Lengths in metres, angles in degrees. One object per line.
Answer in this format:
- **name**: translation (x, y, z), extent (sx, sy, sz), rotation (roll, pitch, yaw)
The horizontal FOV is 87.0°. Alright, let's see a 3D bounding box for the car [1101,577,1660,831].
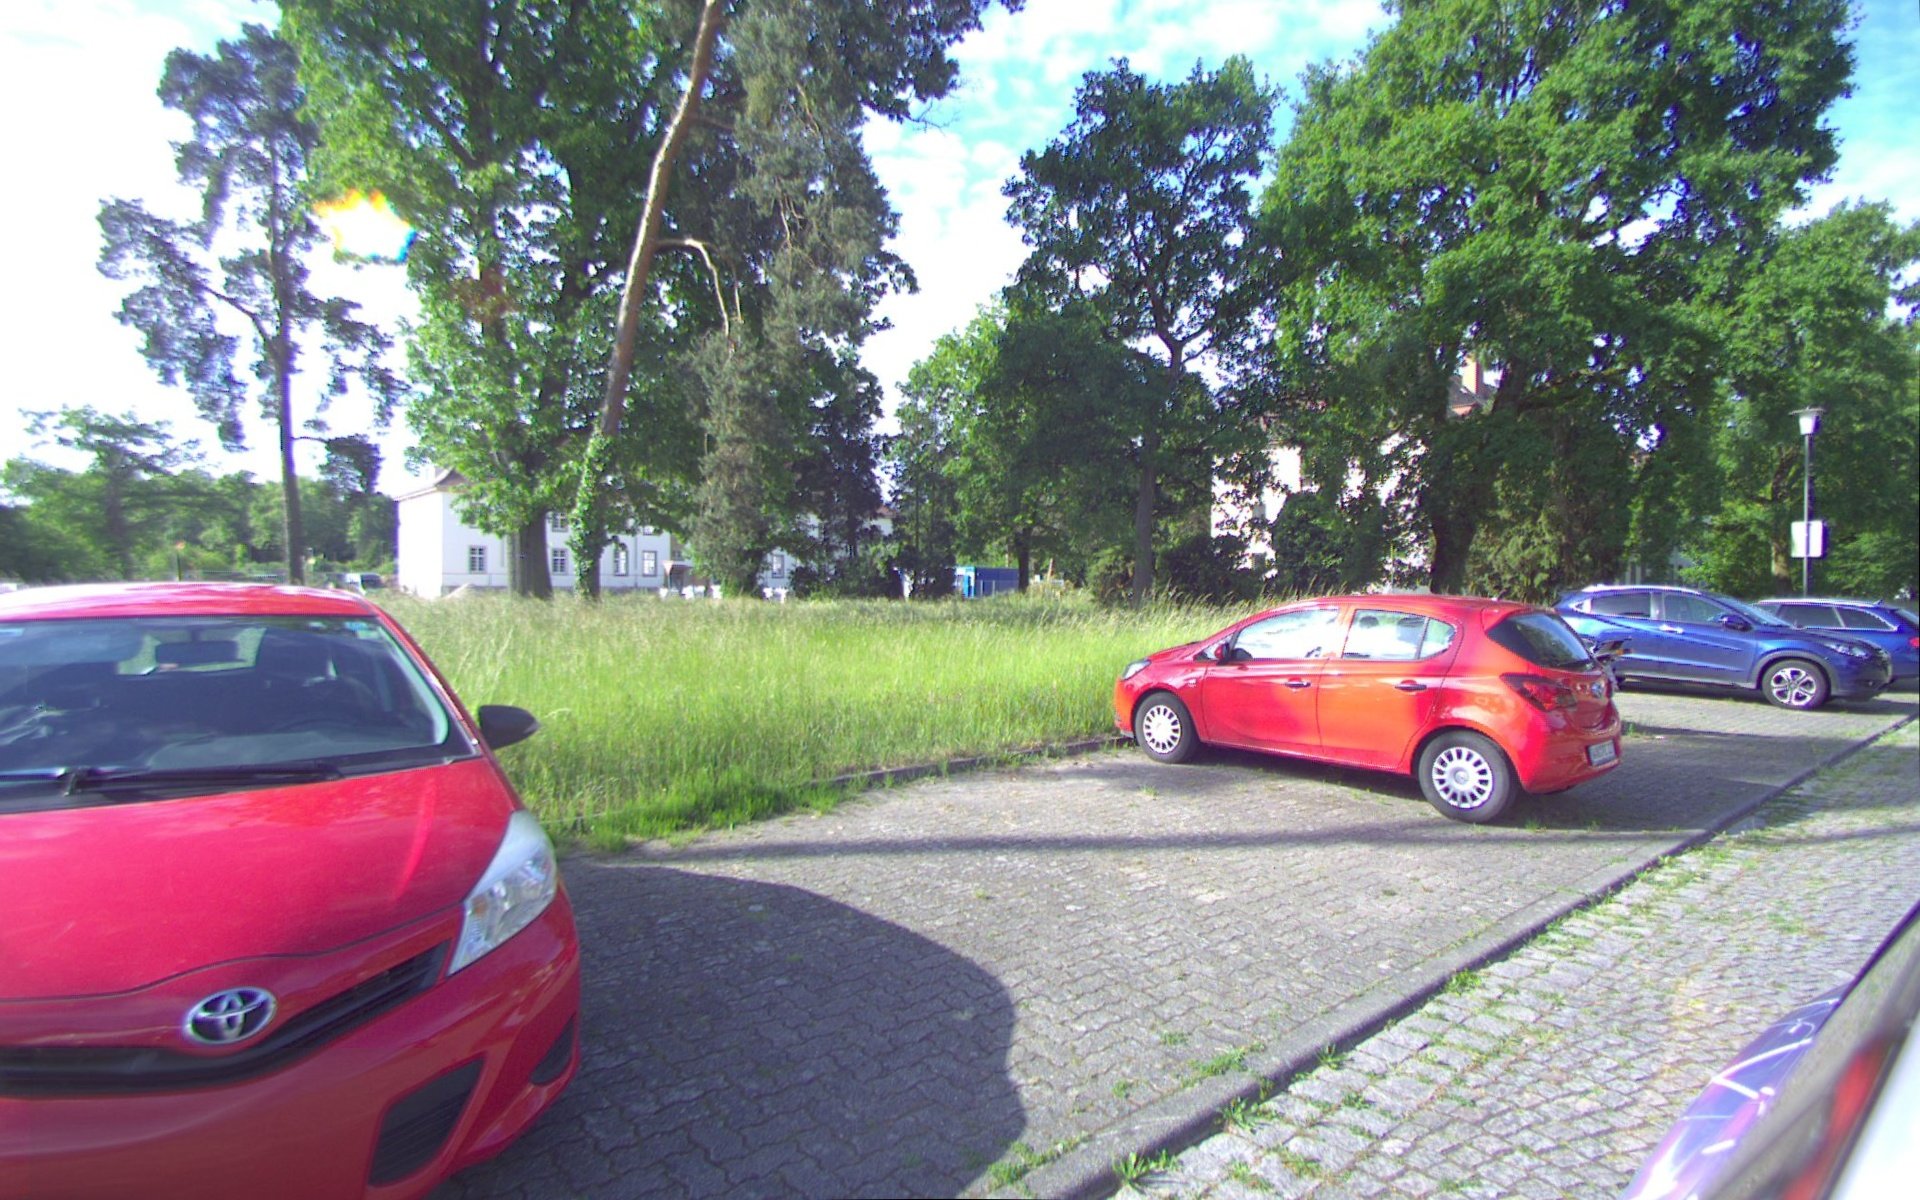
- **car**: translation (3.135, 0.595, 8.148), extent (1.617, 1.497, 3.834), rotation (0, 2, -41)

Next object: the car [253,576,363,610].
- **car**: translation (-44.959, -0.476, 69.916), extent (5.892, 2.198, 2.379), rotation (-1, 1, -8)

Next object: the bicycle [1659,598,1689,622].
- **bicycle**: translation (30.503, 0.422, 43.222), extent (1.007, 1.029, 0.711), rotation (0, 1, -33)

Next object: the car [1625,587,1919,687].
- **car**: translation (14.415, 0.554, 17.595), extent (1.682, 1.425, 4.463), rotation (0, 2, -37)

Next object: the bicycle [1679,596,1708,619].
- **bicycle**: translation (33.384, 0.347, 46.091), extent (0.700, 1.029, 1.023), rotation (0, 1, 12)

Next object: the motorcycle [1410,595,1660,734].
- **motorcycle**: translation (6.328, 0.644, 11.286), extent (0.713, 1.336, 2.304), rotation (0, 2, -40)

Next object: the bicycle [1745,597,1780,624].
- **bicycle**: translation (32.014, 0.417, 40.371), extent (1.231, 1.029, 0.711), rotation (0, 1, -33)

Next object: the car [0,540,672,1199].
- **car**: translation (-2.523, 0.641, 3.426), extent (1.616, 1.549, 3.770), rotation (0, 1, -39)

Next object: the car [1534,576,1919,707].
- **car**: translation (10.891, 0.469, 14.629), extent (1.721, 1.611, 4.185), rotation (0, 1, -40)
